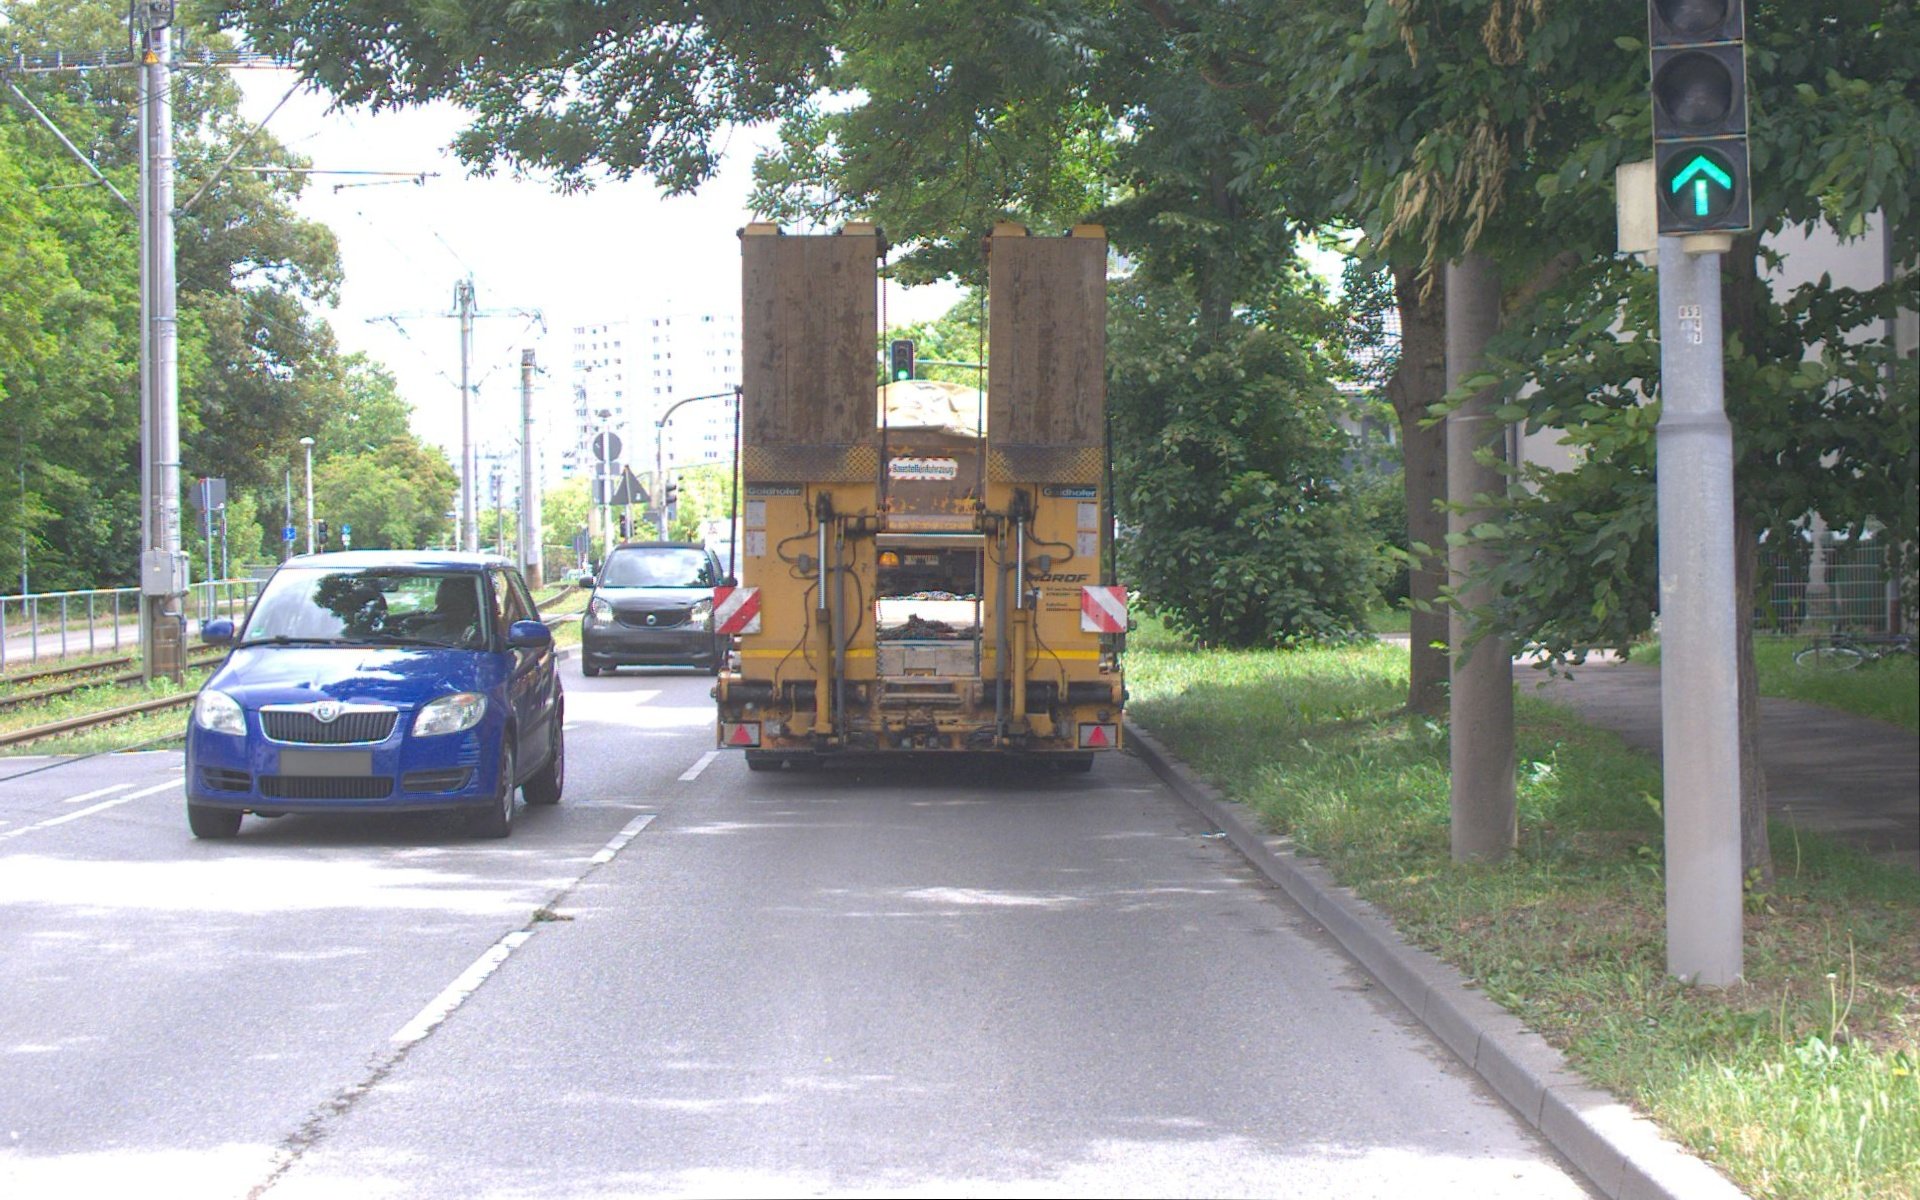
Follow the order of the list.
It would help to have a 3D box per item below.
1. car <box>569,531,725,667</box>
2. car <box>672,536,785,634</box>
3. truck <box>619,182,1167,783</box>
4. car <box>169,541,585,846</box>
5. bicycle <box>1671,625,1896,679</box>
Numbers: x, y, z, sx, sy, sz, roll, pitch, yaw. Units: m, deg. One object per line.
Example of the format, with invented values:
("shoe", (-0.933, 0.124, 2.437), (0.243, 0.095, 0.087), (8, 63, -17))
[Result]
("car", (-3.687, -0.043, 40.945), (1.637, 1.528, 3.275), (1, 1, -2))
("car", (-3.867, -0.286, 58.000), (1.716, 1.539, 4.001), (1, 2, -1))
("truck", (-0.620, -0.731, 27.215), (3.316, 3.638, 12.563), (0, 0, -2))
("car", (-3.088, 0.428, 18.872), (1.581, 1.480, 3.806), (1, 1, 1))
("bicycle", (8.433, 0.531, 35.287), (2.205, 0.506, 0.673), (1, 0, 11))
